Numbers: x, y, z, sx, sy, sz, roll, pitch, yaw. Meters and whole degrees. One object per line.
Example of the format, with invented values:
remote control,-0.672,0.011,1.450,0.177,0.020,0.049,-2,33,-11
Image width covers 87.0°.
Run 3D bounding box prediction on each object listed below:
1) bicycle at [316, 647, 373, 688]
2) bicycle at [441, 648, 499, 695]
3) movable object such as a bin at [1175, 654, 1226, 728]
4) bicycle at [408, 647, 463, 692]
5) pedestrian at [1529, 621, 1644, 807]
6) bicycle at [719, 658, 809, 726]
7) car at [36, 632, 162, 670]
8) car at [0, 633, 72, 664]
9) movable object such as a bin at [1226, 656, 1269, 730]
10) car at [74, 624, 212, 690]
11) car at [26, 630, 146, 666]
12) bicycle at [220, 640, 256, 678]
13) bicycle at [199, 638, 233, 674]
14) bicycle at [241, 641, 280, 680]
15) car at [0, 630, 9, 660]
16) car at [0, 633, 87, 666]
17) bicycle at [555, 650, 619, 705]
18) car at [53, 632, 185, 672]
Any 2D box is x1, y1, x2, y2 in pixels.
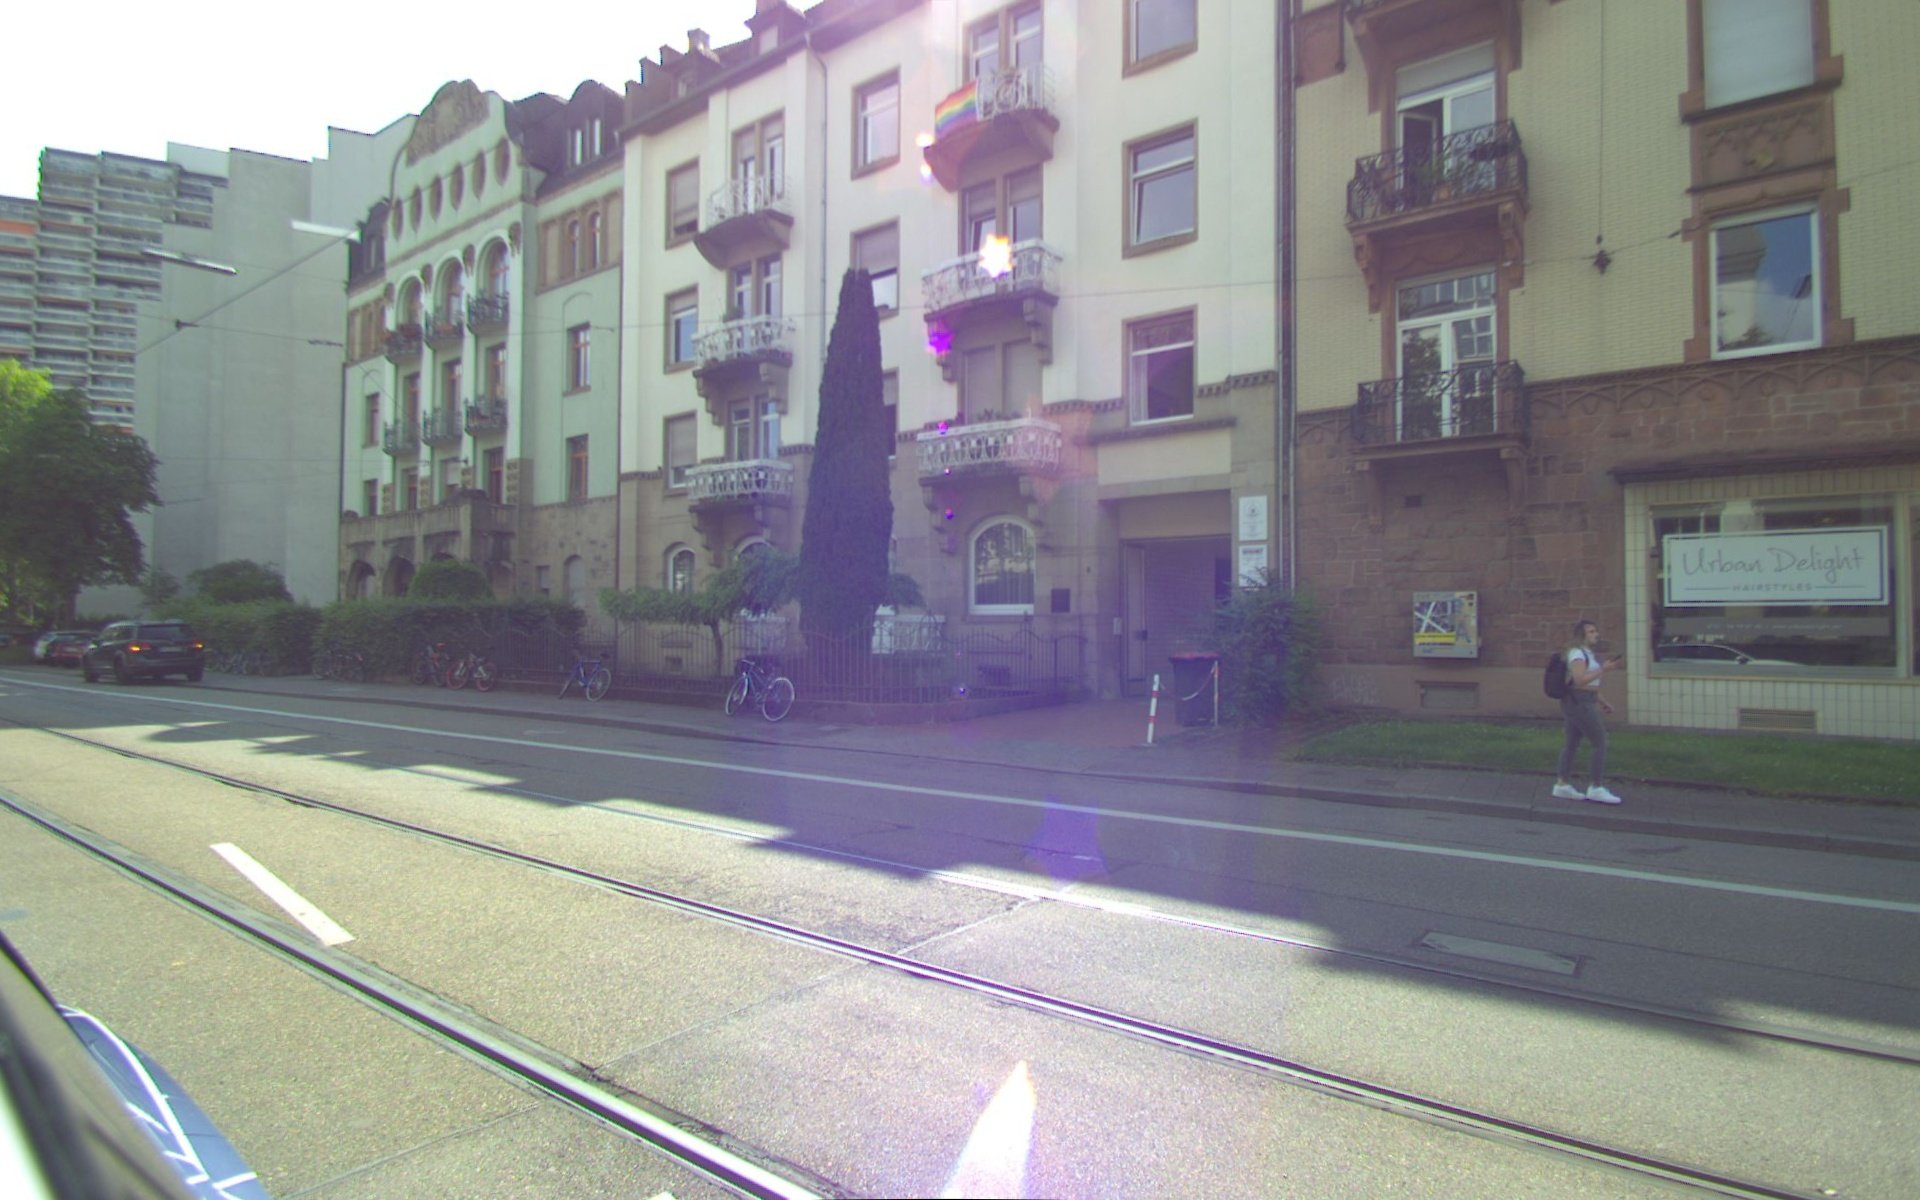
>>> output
bicycle,-15.757,1.703,25.889,1.979,1.003,0.597,-2,-3,40
bicycle,-10.865,1.566,22.418,1.785,1.003,0.462,-2,-3,40
movable object such as a bin,3.488,1.306,14.714,0.697,1.037,0.475,0,-2,11
bicycle,-12.282,1.601,23.680,1.785,1.003,0.462,-2,-3,40
pedestrian,5.570,0.969,8.995,0.764,1.553,0.749,-2,-3,39
bicycle,-3.203,1.459,16.424,0.461,1.003,1.980,2,-3,-43
car,-36.208,2.127,42.622,3.938,1.519,2.002,2,-3,-42
car,-46.587,2.395,50.071,3.938,1.519,2.002,2,-3,-42
movable object such as a bin,4.160,1.335,14.666,0.531,1.037,0.475,0,-2,11
car,-22.858,1.546,28.269,4.392,1.708,1.899,-1,-2,36
car,-38.816,2.123,45.034,3.938,1.519,2.002,2,-3,-42
bicycle,-22.650,1.826,31.748,1.785,1.144,0.462,-2,-3,40
bicycle,-24.305,1.822,33.037,1.785,1.144,0.462,-2,-3,40
bicycle,-21.123,1.808,30.548,1.785,1.144,0.462,-2,-3,40
car,-57.055,2.567,57.746,3.938,1.695,2.002,2,-3,-42
car,-44.130,2.318,48.095,3.938,1.519,2.002,2,-3,-42
bicycle,-7.277,1.491,19.723,0.461,1.003,1.788,2,-3,-45
car,-33.524,2.045,40.370,3.938,1.519,2.002,2,-3,-42
